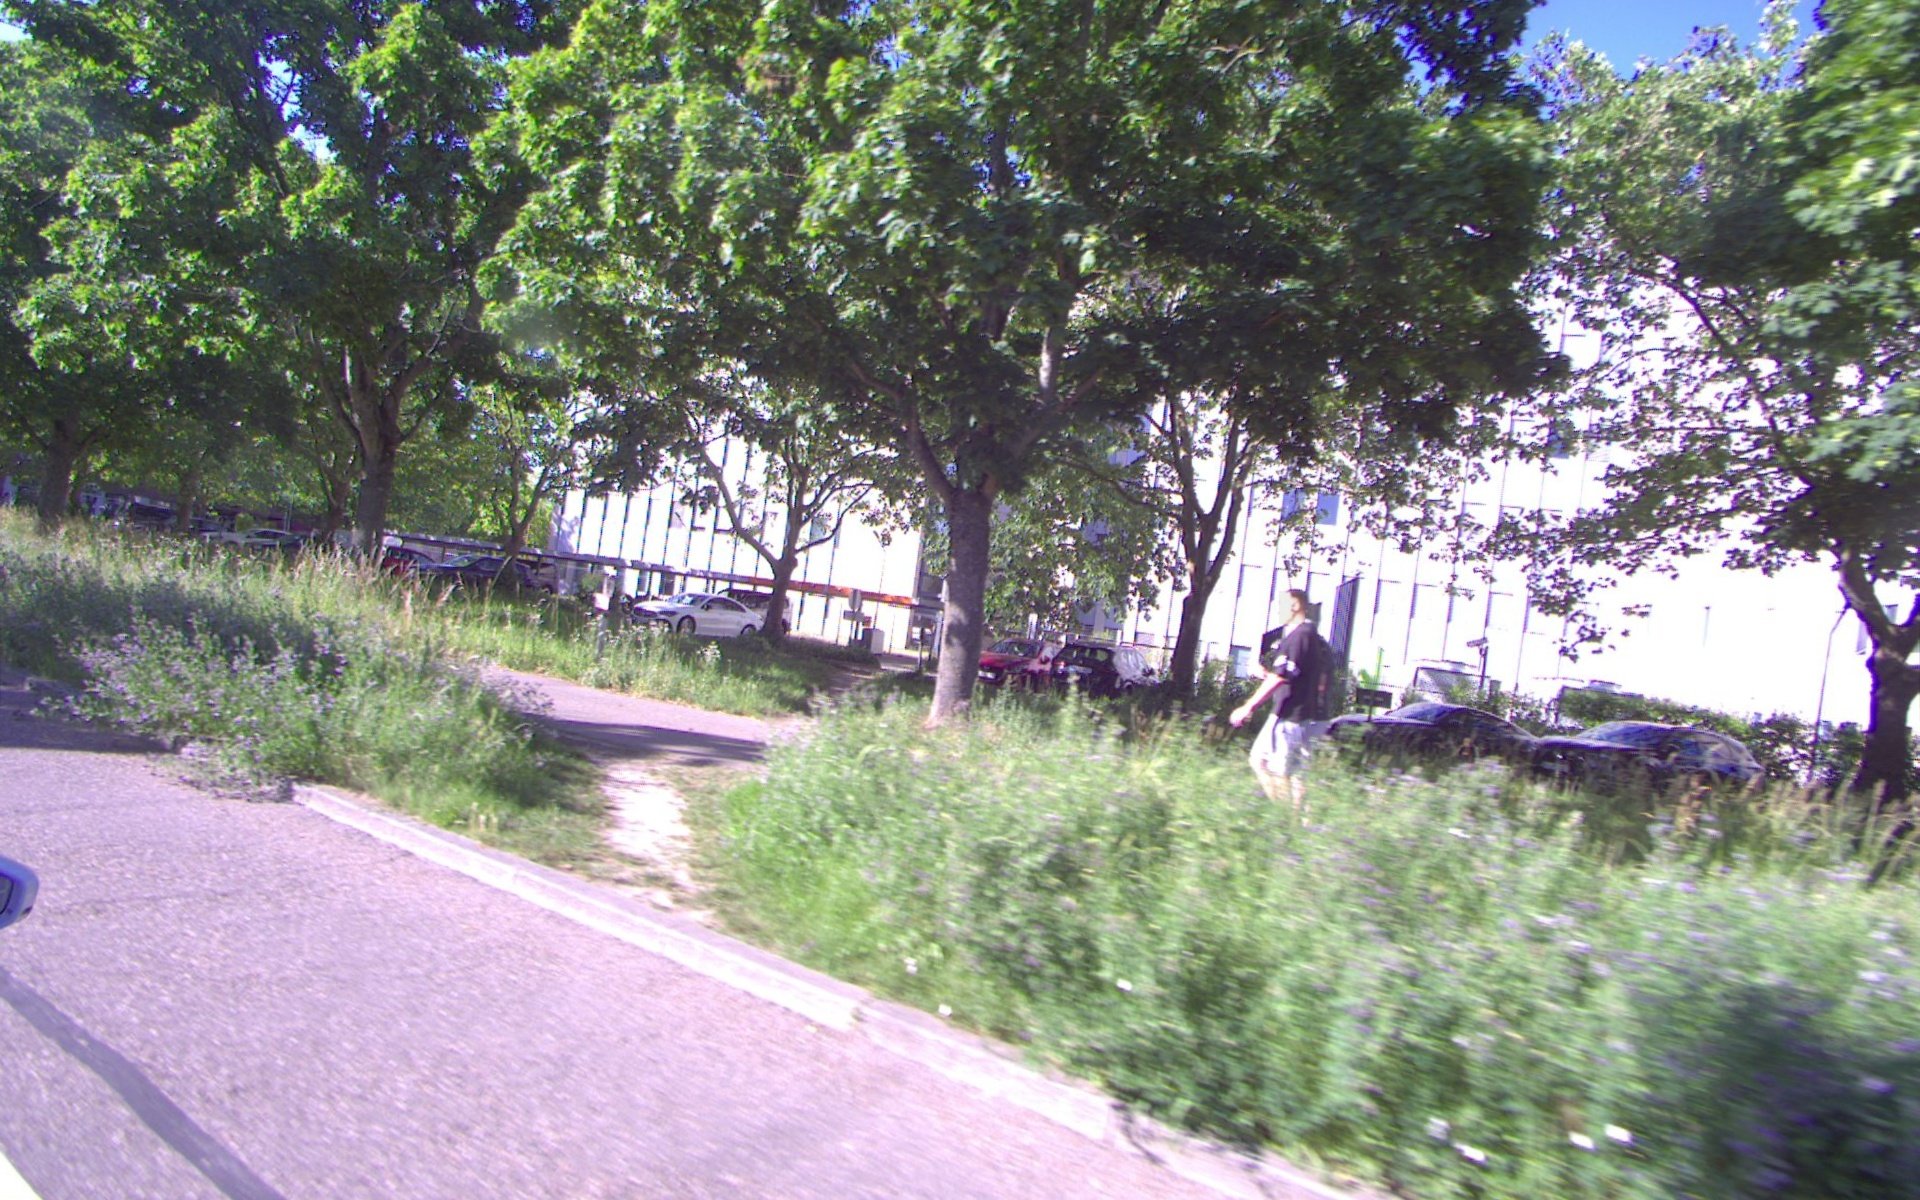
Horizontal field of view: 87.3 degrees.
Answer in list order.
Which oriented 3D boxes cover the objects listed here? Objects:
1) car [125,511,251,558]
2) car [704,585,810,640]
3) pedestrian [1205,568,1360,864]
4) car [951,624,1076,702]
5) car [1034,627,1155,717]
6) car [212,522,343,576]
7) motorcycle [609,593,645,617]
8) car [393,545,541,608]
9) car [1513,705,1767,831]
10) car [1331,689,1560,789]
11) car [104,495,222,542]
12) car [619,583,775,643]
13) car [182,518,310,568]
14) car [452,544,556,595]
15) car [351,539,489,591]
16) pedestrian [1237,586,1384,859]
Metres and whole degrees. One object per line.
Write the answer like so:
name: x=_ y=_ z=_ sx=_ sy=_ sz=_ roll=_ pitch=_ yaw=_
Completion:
car: x=-36.672 y=-3.100 z=47.905 sx=1.661 sy=1.476 sz=4.363 roll=7 pitch=-2 yaw=33
car: x=-9.234 y=0.615 z=46.223 sx=1.940 sy=1.973 sz=4.759 roll=8 pitch=-1 yaw=30
pedestrian: x=2.338 y=0.814 z=7.330 sx=0.801 sy=1.940 sz=0.711 roll=7 pitch=-1 yaw=18
car: x=1.439 y=1.576 z=25.126 sx=1.733 sy=1.554 sz=4.245 roll=7 pitch=-1 yaw=21
car: x=3.298 y=1.693 z=23.895 sx=1.733 sy=1.720 sz=4.350 roll=7 pitch=-1 yaw=21
car: x=-27.728 y=-2.027 z=41.027 sx=1.676 sy=1.543 sz=4.006 roll=7 pitch=-2 yaw=27
motorcycle: x=-16.269 y=0.246 z=49.229 sx=0.529 sy=0.982 sz=1.653 roll=7 pitch=-1 yaw=29
car: x=-17.571 y=-0.802 z=36.076 sx=1.851 sy=1.615 sz=4.404 roll=7 pitch=-2 yaw=27
car: x=12.267 y=3.018 z=18.160 sx=3.933 sy=1.657 sz=1.716 roll=9 pitch=-2 yaw=-20
car: x=9.634 y=2.748 z=20.011 sx=3.930 sy=1.356 sz=1.703 roll=9 pitch=-2 yaw=-17
car: x=-38.667 y=-3.935 z=48.912 sx=1.709 sy=1.522 sz=4.038 roll=7 pitch=-2 yaw=31
car: x=-7.892 y=0.435 z=30.678 sx=1.776 sy=1.286 sz=4.709 roll=8 pitch=-1 yaw=28
car: x=-31.564 y=-2.482 z=44.605 sx=1.795 sy=1.448 sz=4.172 roll=7 pitch=-2 yaw=33
car: x=-24.310 y=-1.588 z=53.783 sx=1.925 sy=2.037 sz=4.594 roll=7 pitch=-2 yaw=32
car: x=-21.230 y=-1.352 z=39.682 sx=1.909 sy=1.340 sz=4.296 roll=8 pitch=-1 yaw=35
pedestrian: x=2.780 y=0.936 z=7.952 sx=0.802 sy=1.953 sz=0.710 roll=7 pitch=-1 yaw=26
